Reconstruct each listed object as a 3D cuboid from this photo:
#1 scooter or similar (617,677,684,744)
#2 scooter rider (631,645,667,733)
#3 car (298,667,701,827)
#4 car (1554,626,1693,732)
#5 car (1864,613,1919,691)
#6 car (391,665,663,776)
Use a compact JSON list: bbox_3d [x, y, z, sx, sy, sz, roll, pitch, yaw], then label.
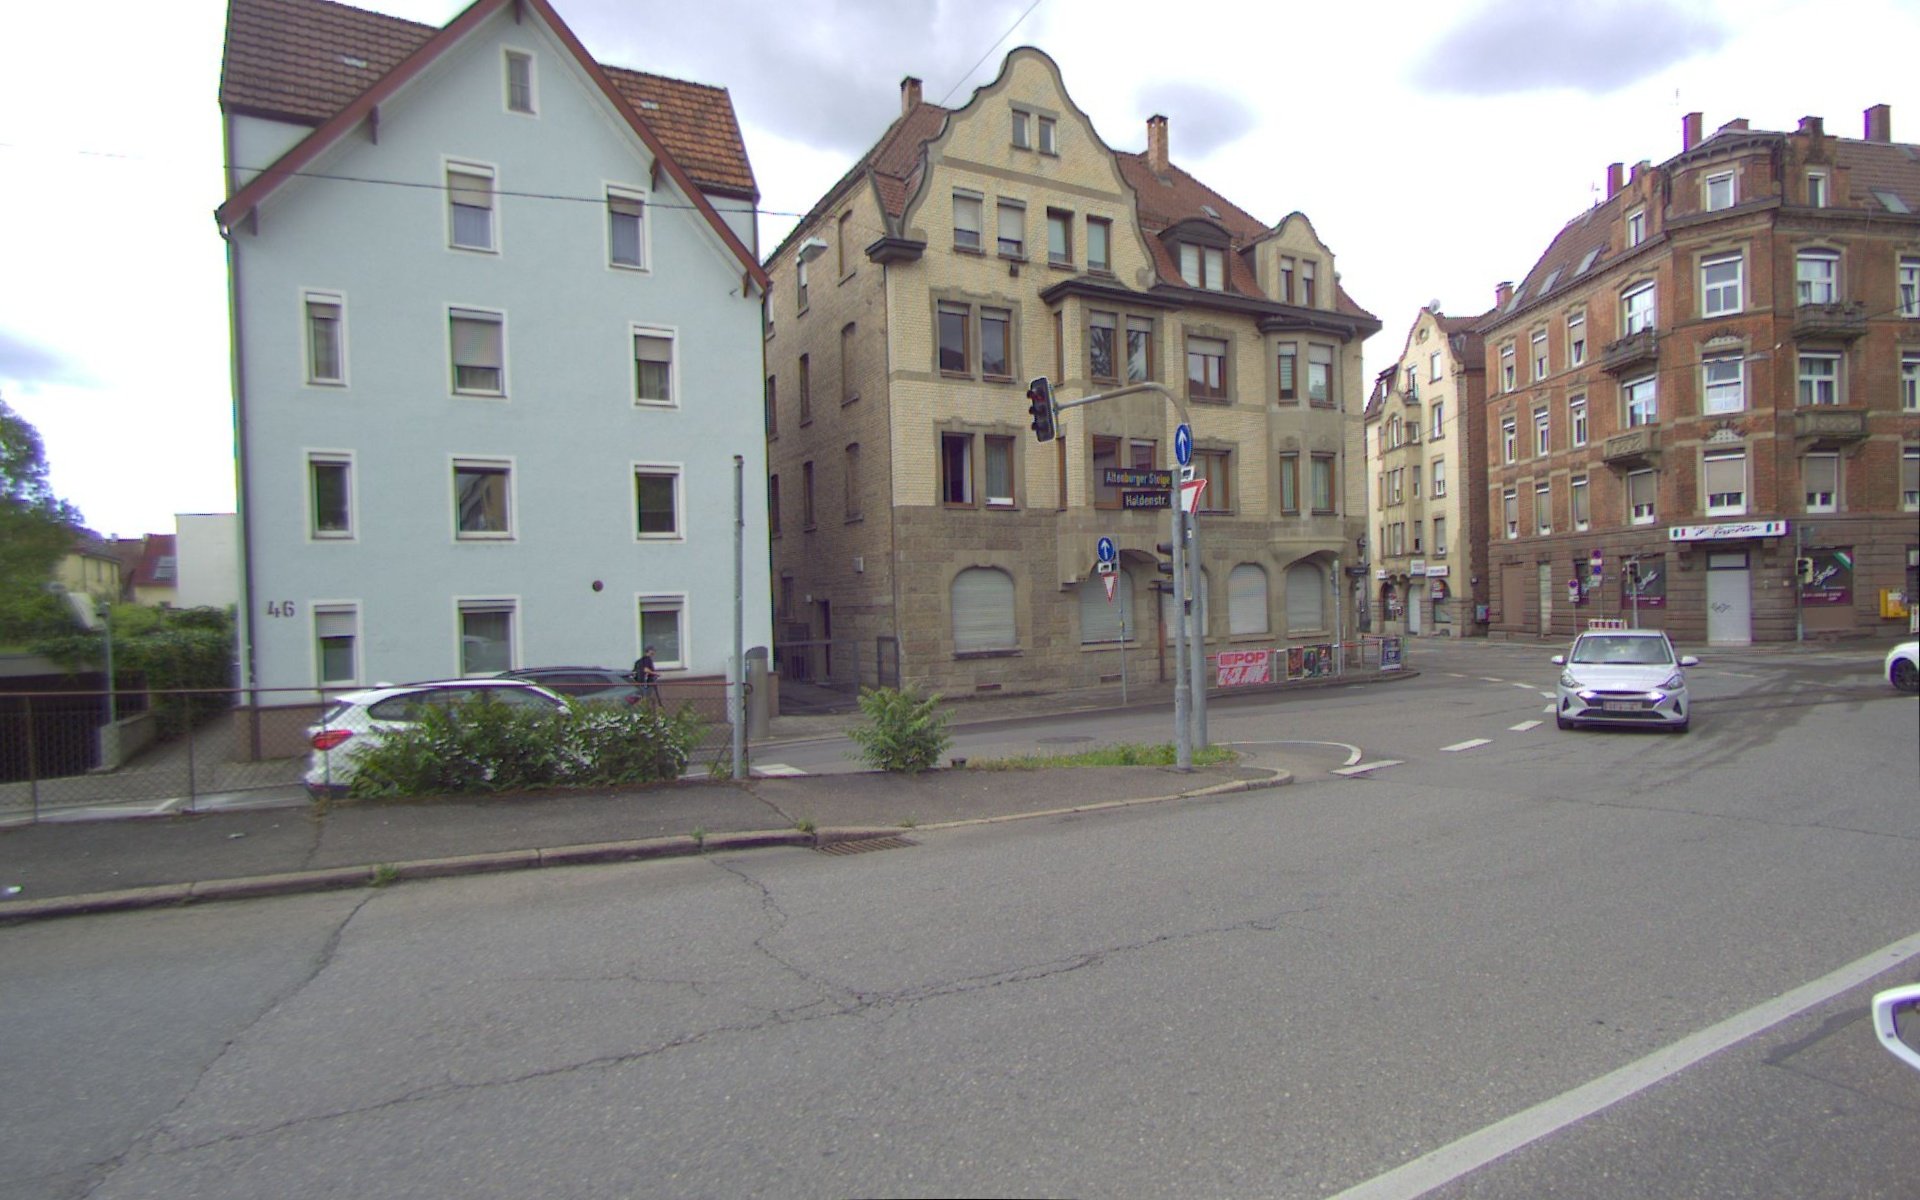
[{"bbox_3d":[-6.287,2.227,20.419,1.212,1.258,0.376,-1,0,-30],"label":"scooter or similar"},{"bbox_3d":[-6.322,1.793,20.408,0.570,1.728,0.485,-1,0,-30],"label":"scooter rider"},{"bbox_3d":[-5.697,1.713,12.742,4.371,1.534,1.819,1,0,-30],"label":"car"},{"bbox_3d":[10.635,1.236,16.098,1.647,1.486,3.633,-3,-4,35],"label":"car"},{"bbox_3d":[19.124,0.950,18.443,1.652,1.485,3.921,-1,-3,4],"label":"car"},{"bbox_3d":[-7.498,2.000,17.503,4.184,1.576,1.674,1,-1,-31],"label":"car"}]
